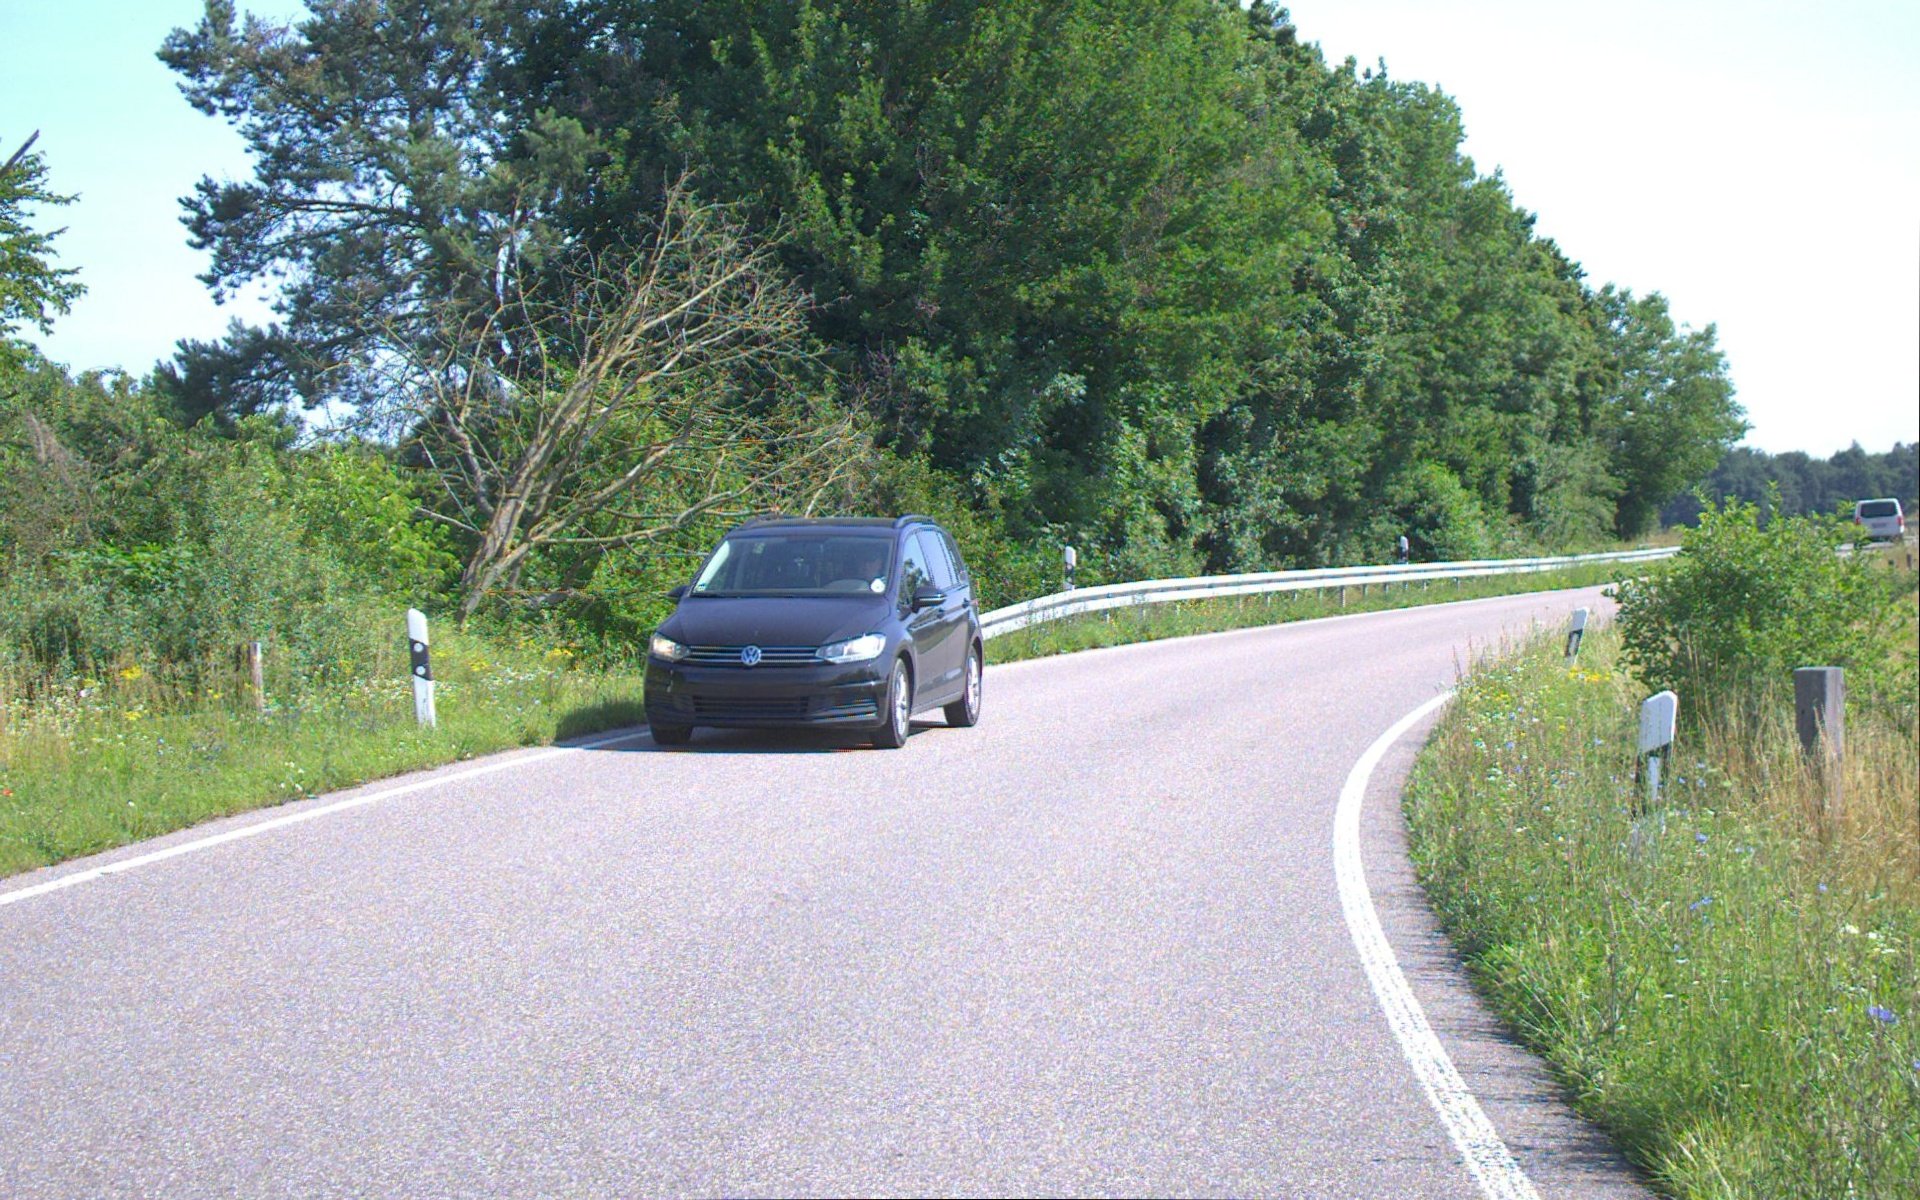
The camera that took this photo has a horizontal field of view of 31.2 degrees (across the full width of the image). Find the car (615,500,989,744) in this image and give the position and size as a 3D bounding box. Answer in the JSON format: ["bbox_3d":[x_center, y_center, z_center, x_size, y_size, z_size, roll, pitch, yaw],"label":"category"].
[{"bbox_3d":[-1.056,0.142,25.228,1.785,1.626,4.158,0,0,11],"label":"car"}]

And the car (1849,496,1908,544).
[{"bbox_3d":[36.409,-3.141,136.196,1.964,1.796,4.157,0,0,19],"label":"car"}]
